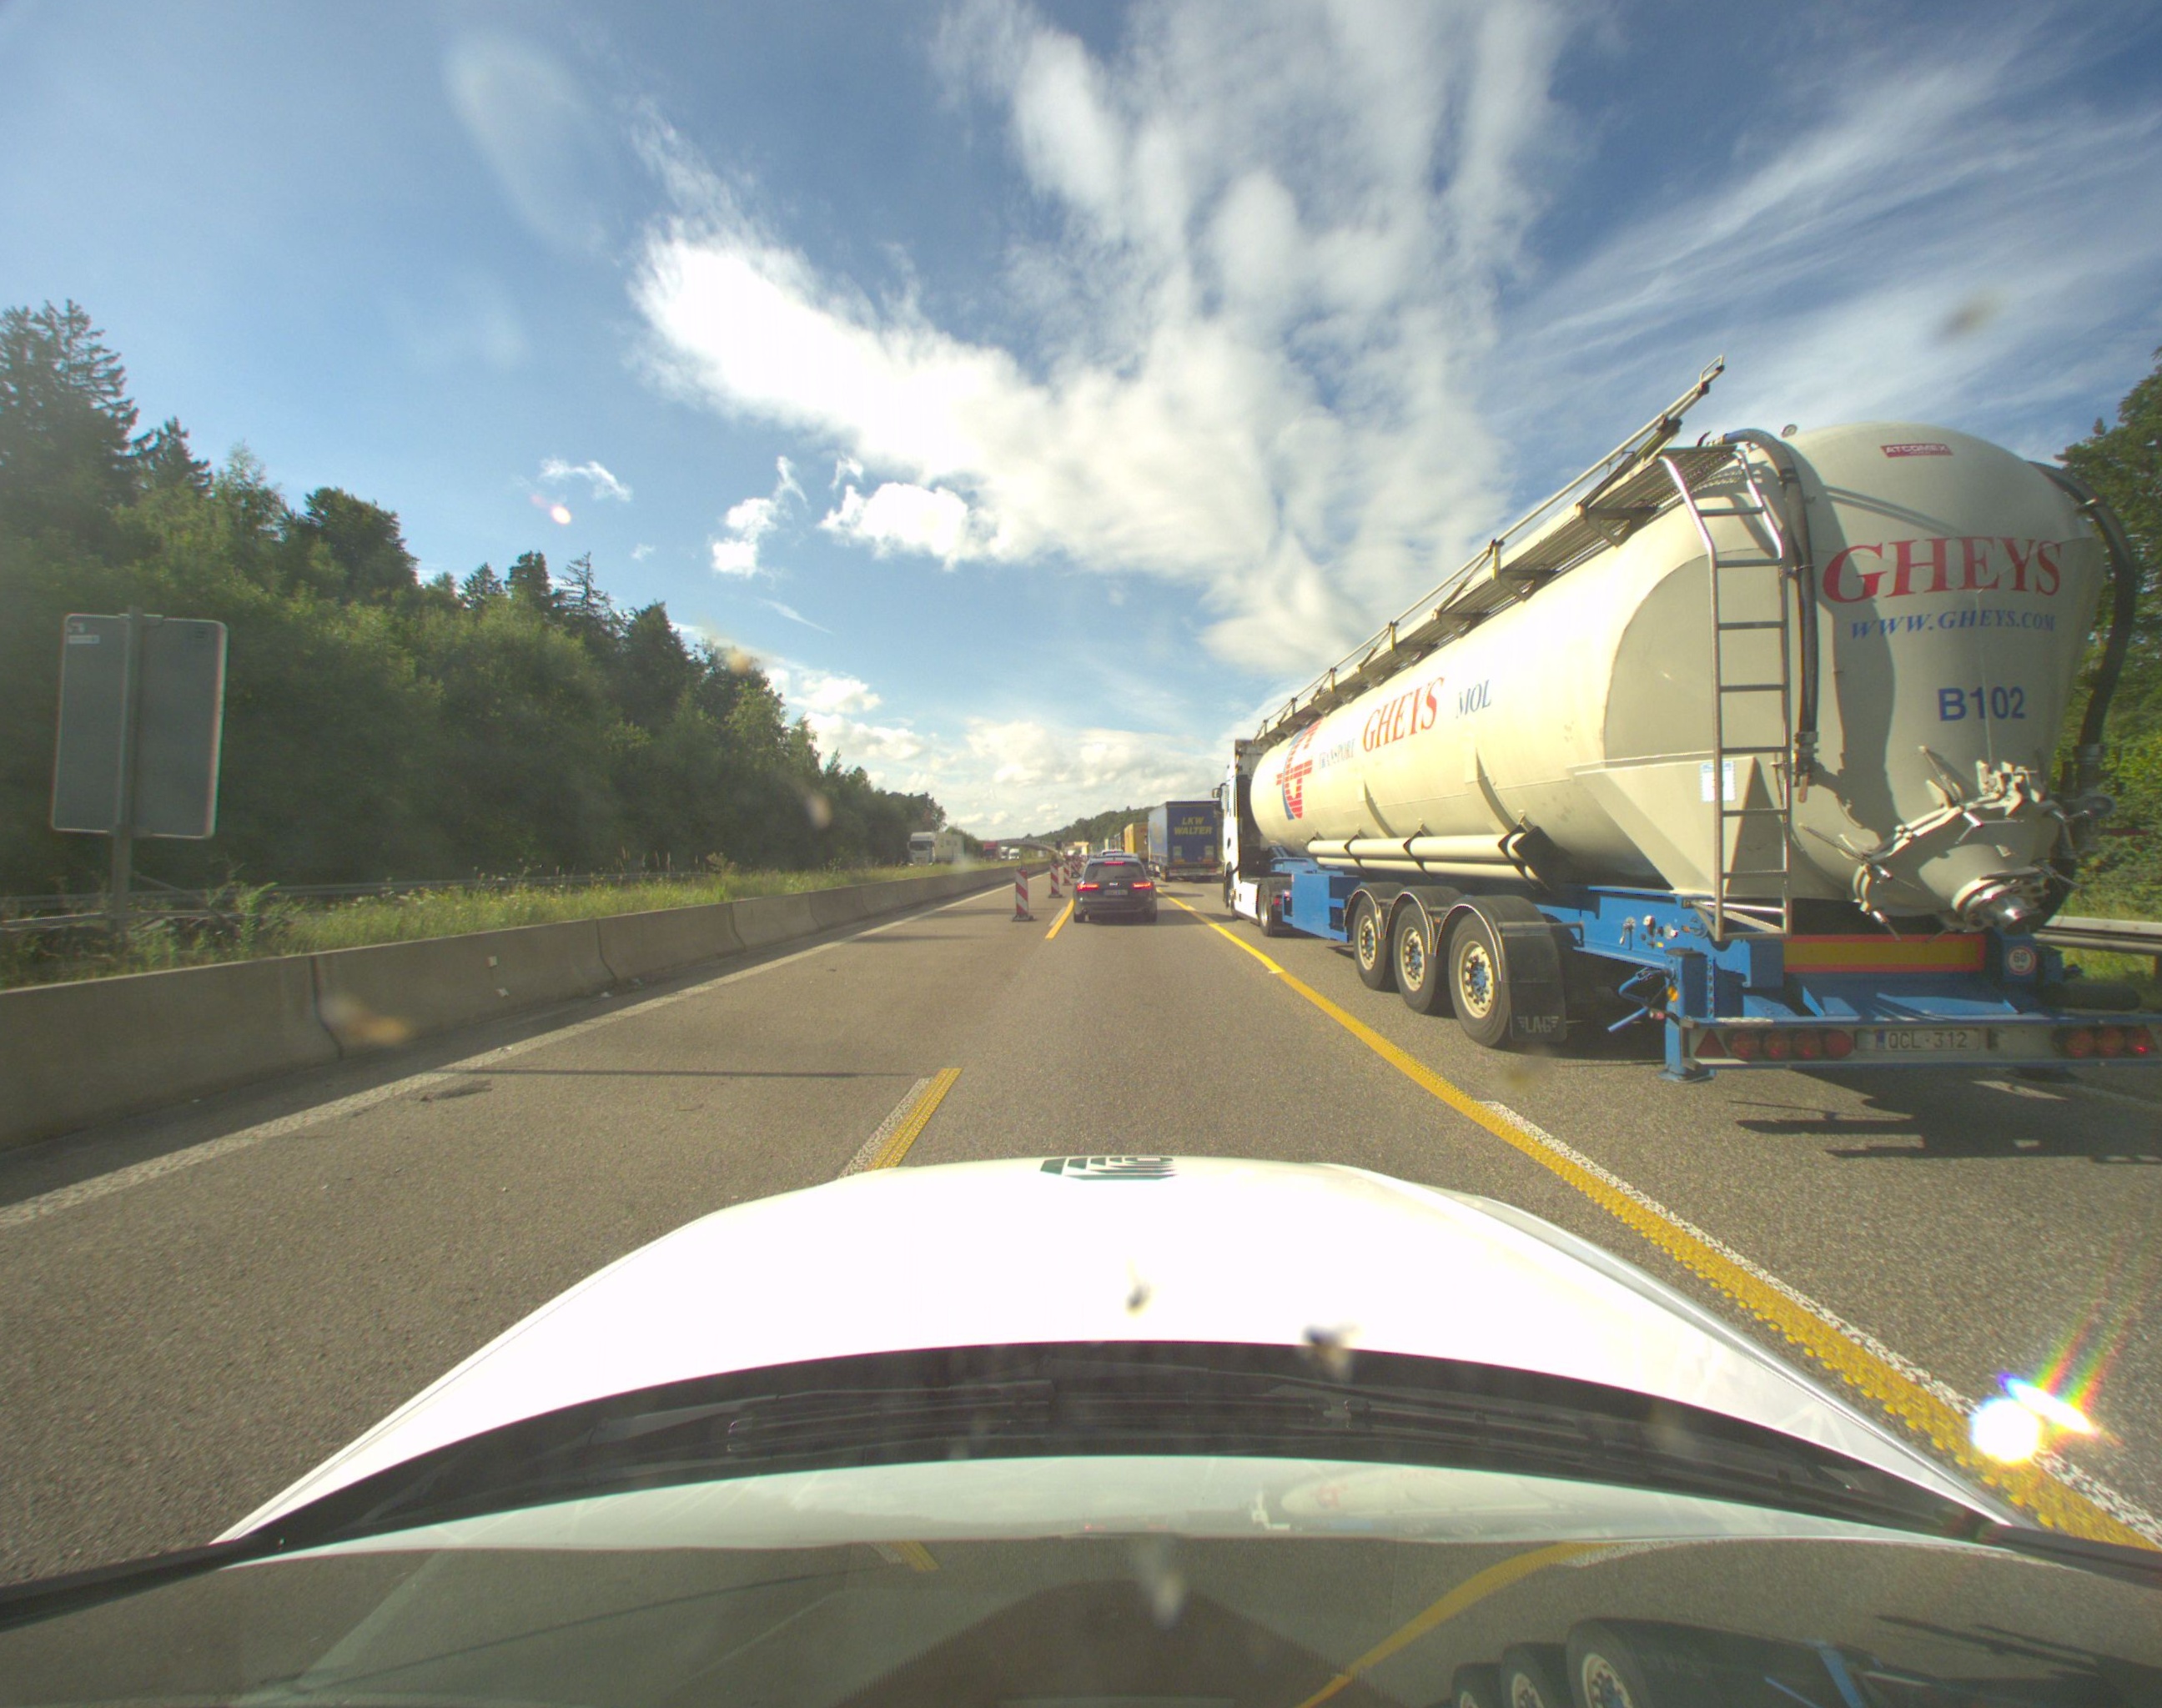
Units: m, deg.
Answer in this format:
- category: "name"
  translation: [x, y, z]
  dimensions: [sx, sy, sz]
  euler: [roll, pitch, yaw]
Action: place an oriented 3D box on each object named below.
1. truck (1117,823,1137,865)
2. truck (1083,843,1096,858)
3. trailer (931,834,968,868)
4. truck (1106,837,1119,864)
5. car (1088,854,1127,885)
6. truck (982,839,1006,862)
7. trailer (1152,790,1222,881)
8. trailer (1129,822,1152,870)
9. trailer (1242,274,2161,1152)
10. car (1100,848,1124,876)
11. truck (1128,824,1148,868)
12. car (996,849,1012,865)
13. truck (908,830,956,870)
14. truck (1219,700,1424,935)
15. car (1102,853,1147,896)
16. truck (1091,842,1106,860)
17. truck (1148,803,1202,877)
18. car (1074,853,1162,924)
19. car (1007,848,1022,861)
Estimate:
- category: "truck"
  translation: [5.670, -1.180, 101.683]
  dimensions: [1.987, 4.914, 9.562]
  euler: [-1, 0, 1]
- category: "truck"
  translation: [2.404, -1.020, 227.401]
  dimensions: [3.294, 4.174, 9.697]
  euler: [-1, 0, -1]
- category: "trailer"
  translation: [-15.494, -0.303, 96.876]
  dimensions: [2.780, 3.923, 8.491]
  euler: [0, -1, 2]
- category: "truck"
  translation: [5.134, -0.474, 133.493]
  dimensions: [2.129, 4.257, 7.073]
  euler: [0, -1, 2]
- category: "car"
  translation: [1.273, 0.730, 38.589]
  dimensions: [1.745, 1.397, 3.609]
  euler: [0, -1, 2]
- category: "truck"
  translation: [-15.745, -0.642, 148.168]
  dimensions: [2.790, 3.992, 10.190]
  euler: [-1, 0, 2]
- category: "trailer"
  translation: [5.619, -0.869, 44.763]
  dimensions: [2.795, 4.413, 10.436]
  euler: [0, -1, 2]
- category: "trailer"
  translation: [5.085, -0.649, 69.856]
  dimensions: [1.611, 3.918, 6.490]
  euler: [0, -1, 1]
- category: "trailer"
  translation: [4.350, -0.626, 9.964]
  dimensions: [2.634, 3.943, 12.602]
  euler: [0, 0, 2]
- category: "car"
  translation: [2.080, 0.547, 54.608]
  dimensions: [1.575, 1.837, 3.113]
  euler: [0, -1, 2]
- category: "truck"
  translation: [5.172, -0.694, 73.850]
  dimensions: [1.604, 3.897, 4.073]
  euler: [0, -1, 1]
- category: "car"
  translation: [-16.450, 0.718, 174.081]
  dimensions: [2.478, 3.370, 7.454]
  euler: [0, -1, 1]
- category: "truck"
  translation: [-15.782, -0.379, 87.199]
  dimensions: [2.772, 3.985, 10.865]
  euler: [0, -1, 2]
- category: "truck"
  translation: [4.573, -0.603, 16.734]
  dimensions: [2.649, 3.972, 5.781]
  euler: [0, -1, 2]
- category: "car"
  translation: [1.555, 0.716, 29.583]
  dimensions: [1.518, 1.439, 3.286]
  euler: [0, -1, 2]
- category: "truck"
  translation: [4.252, -0.607, 197.094]
  dimensions: [3.293, 4.175, 9.700]
  euler: [-1, 0, 0]
- category: "truck"
  translation: [5.886, -0.822, 52.377]
  dimensions: [2.795, 4.370, 7.795]
  euler: [0, -1, 2]
- category: "car"
  translation: [0.852, 0.726, 19.121]
  dimensions: [1.842, 1.463, 4.002]
  euler: [-1, 0, 2]
- category: "car"
  translation: [-12.732, 0.166, 156.351]
  dimensions: [2.152, 2.451, 6.334]
  euler: [-1, 0, 2]
